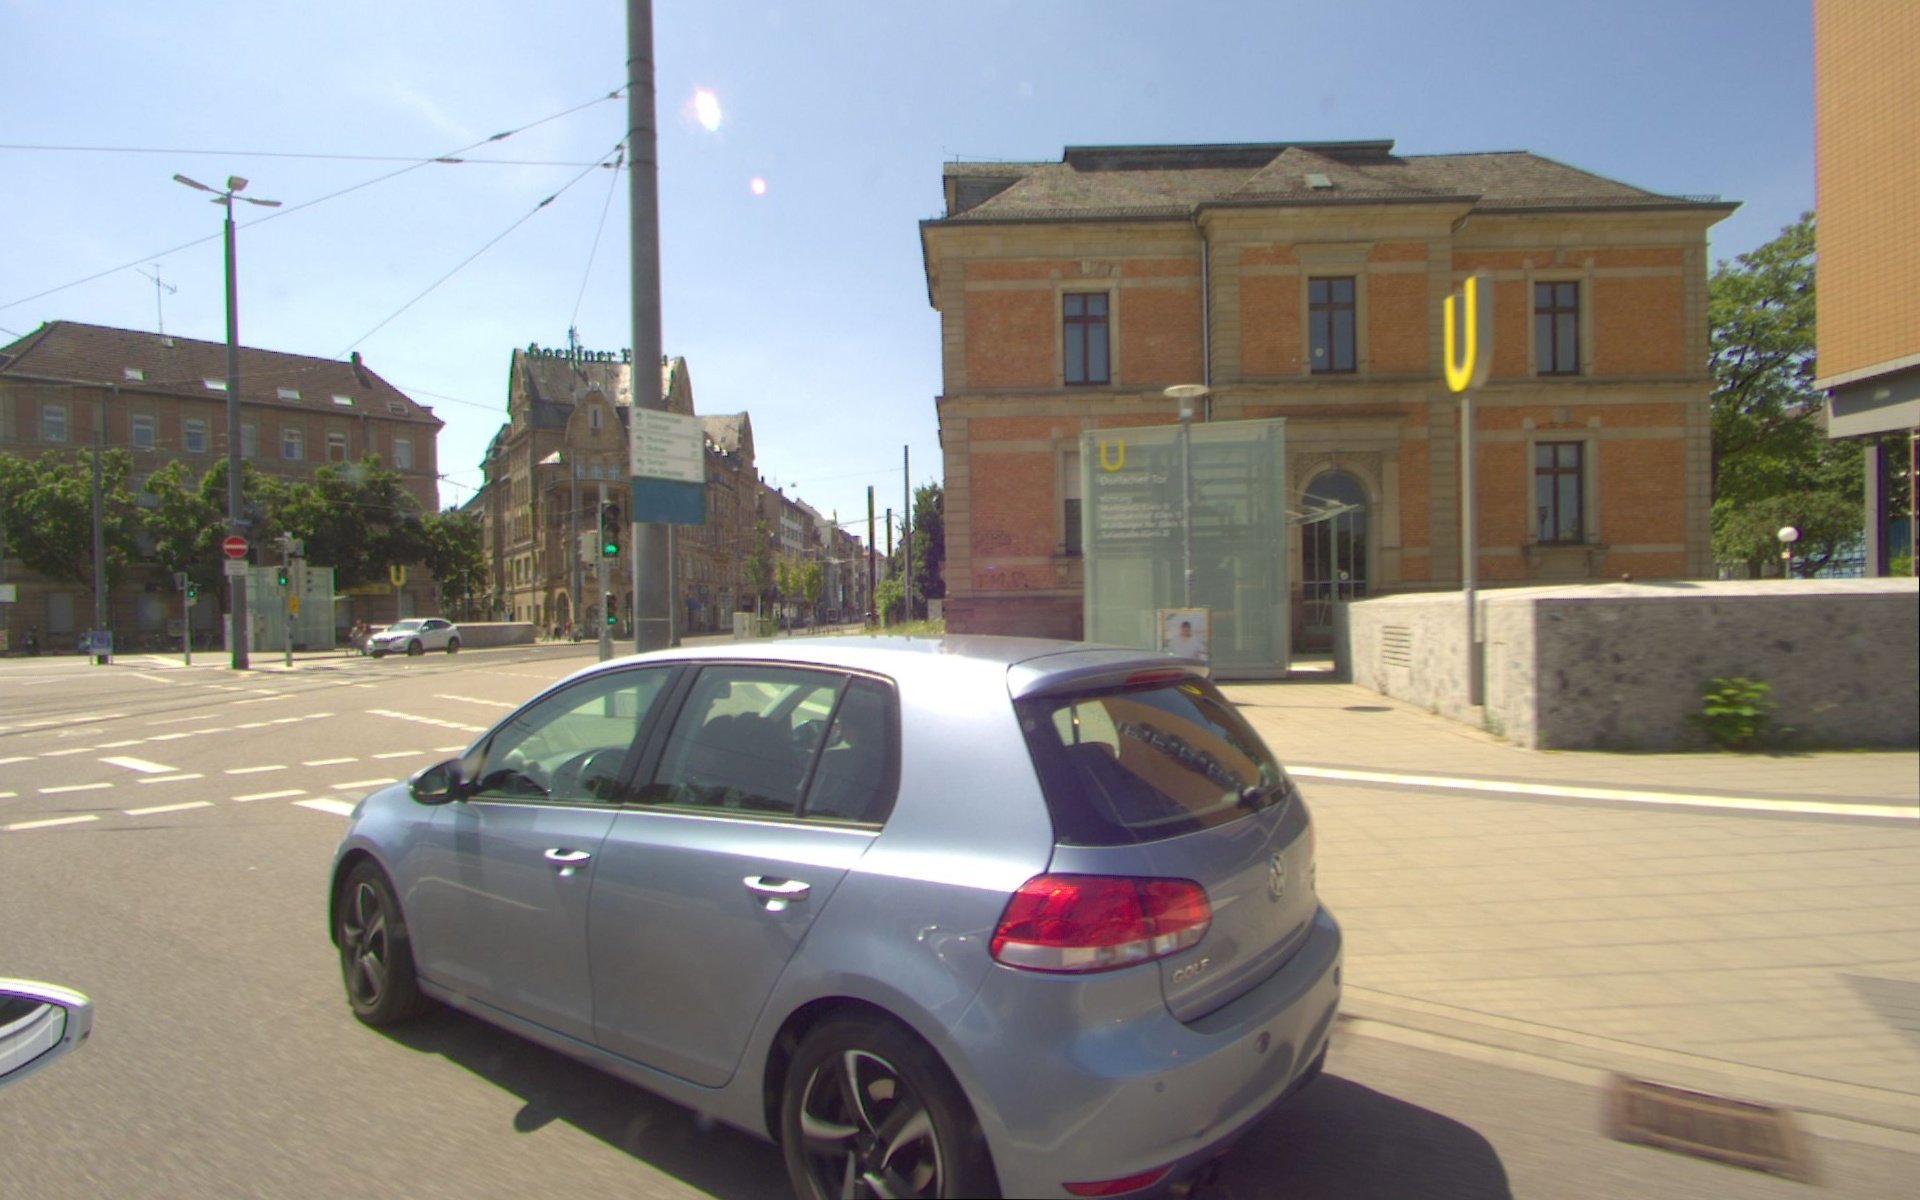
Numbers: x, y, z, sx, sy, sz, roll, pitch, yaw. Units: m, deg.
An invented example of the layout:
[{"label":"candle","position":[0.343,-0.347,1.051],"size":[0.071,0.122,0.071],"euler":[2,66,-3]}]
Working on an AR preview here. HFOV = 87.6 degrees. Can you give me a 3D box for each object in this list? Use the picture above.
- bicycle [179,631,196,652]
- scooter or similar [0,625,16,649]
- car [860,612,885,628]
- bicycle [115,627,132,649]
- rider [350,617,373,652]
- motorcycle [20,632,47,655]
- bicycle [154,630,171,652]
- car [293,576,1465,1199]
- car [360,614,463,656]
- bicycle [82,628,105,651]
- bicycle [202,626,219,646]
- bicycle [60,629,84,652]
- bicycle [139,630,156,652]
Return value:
[{"label":"bicycle","position":[-42.316,2.253,54.832],"size":[0.547,1.134,1.852],"euler":[-1,0,-43]},{"label":"scooter or similar","position":[-48.498,1.864,50.250],"size":[0.588,1.196,1.792],"euler":[-1,-1,0]},{"label":"car","position":[-8.737,1.998,100.202],"size":[1.961,1.471,4.003],"euler":[-1,-3,4]},{"label":"bicycle","position":[-43.713,1.977,52.302],"size":[0.547,1.134,1.803],"euler":[-1,0,-43]},{"label":"rider","position":[-27.959,1.588,46.781],"size":[0.553,1.622,0.875],"euler":[-1,0,-2]},{"label":"motorcycle","position":[-45.865,2.157,49.571],"size":[1.919,1.088,0.578],"euler":[-1,0,34]},{"label":"bicycle","position":[-42.582,2.180,53.477],"size":[0.547,1.134,1.871],"euler":[-1,0,-43]},{"label":"car","position":[-0.555,0.771,3.497],"size":[3.950,1.477,1.647],"euler":[-2,-2,35]},{"label":"car","position":[-22.859,1.410,41.886],"size":[1.662,1.626,4.193],"euler":[-1,-1,6]},{"label":"bicycle","position":[-44.582,2.027,51.507],"size":[2.068,1.160,0.441],"euler":[-3,-3,37]},{"label":"bicycle","position":[-41.713,1.996,55.720],"size":[0.547,1.134,1.911],"euler":[-1,0,-43]},{"label":"bicycle","position":[-45.002,2.070,50.725],"size":[1.797,1.134,0.549],"euler":[-1,0,37]},{"label":"bicycle","position":[-43.052,2.165,53.059],"size":[0.547,1.134,1.803],"euler":[-1,0,-43]}]
